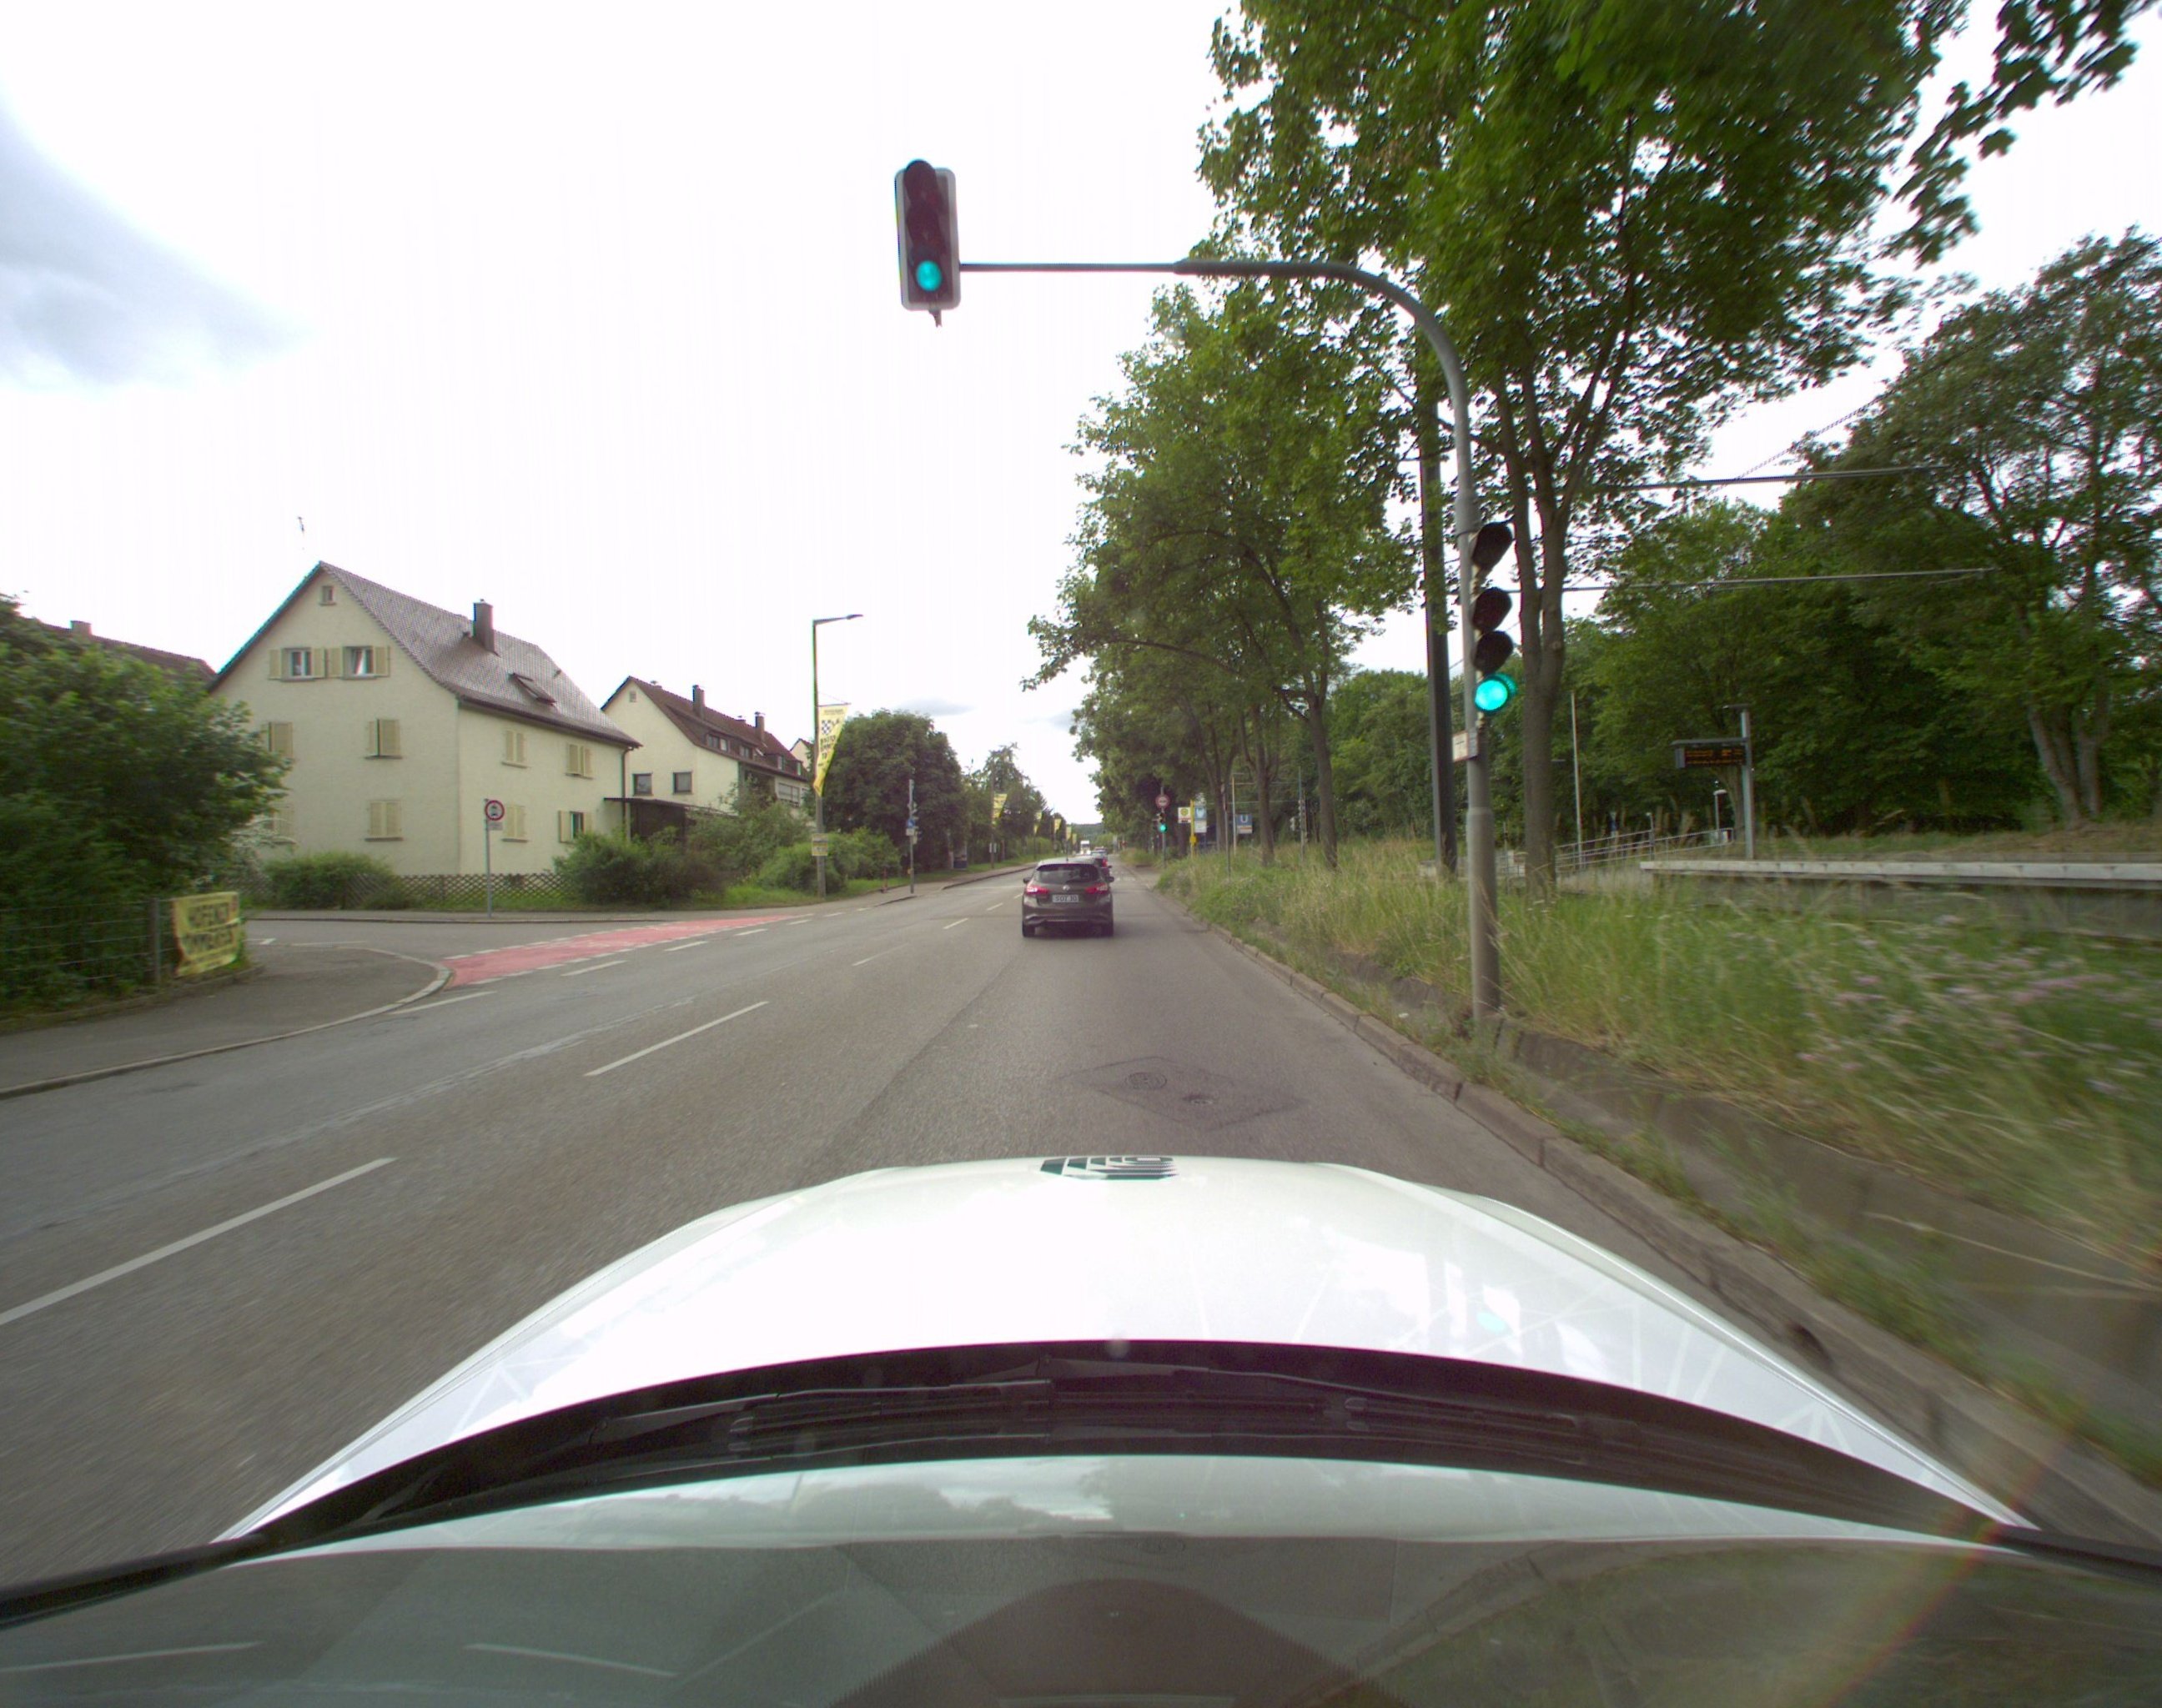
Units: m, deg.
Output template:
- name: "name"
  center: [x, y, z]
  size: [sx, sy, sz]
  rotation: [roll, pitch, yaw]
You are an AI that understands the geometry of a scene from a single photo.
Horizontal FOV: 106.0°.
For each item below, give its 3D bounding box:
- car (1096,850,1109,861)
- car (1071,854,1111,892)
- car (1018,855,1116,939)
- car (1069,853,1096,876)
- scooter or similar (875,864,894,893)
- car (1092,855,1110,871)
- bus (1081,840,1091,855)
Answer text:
- name: "car"
  center: [2.938, 0.183, 109.254]
  size: [1.685, 1.441, 3.543]
  rotation: [-1, 0, 2]
- name: "car"
  center: [0.443, 0.739, 33.467]
  size: [1.496, 1.441, 3.543]
  rotation: [-1, 0, 2]
- name: "car"
  center: [-0.187, 0.810, 16.912]
  size: [1.776, 1.507, 3.698]
  rotation: [-1, -1, 2]
- name: "car"
  center: [0.119, 0.683, 54.701]
  size: [1.685, 1.441, 3.543]
  rotation: [-1, 0, 2]
- name: "scooter or similar"
  center: [-9.010, 1.118, 37.367]
  size: [0.460, 1.259, 1.427]
  rotation: [-1, 0, 3]
- name: "car"
  center: [1.999, 0.855, 79.722]
  size: [1.685, 1.441, 3.543]
  rotation: [-1, 0, 2]
- name: "bus"
  center: [1.550, -1.895, 229.612]
  size: [2.478, 4.025, 10.221]
  rotation: [-1, 0, 2]
